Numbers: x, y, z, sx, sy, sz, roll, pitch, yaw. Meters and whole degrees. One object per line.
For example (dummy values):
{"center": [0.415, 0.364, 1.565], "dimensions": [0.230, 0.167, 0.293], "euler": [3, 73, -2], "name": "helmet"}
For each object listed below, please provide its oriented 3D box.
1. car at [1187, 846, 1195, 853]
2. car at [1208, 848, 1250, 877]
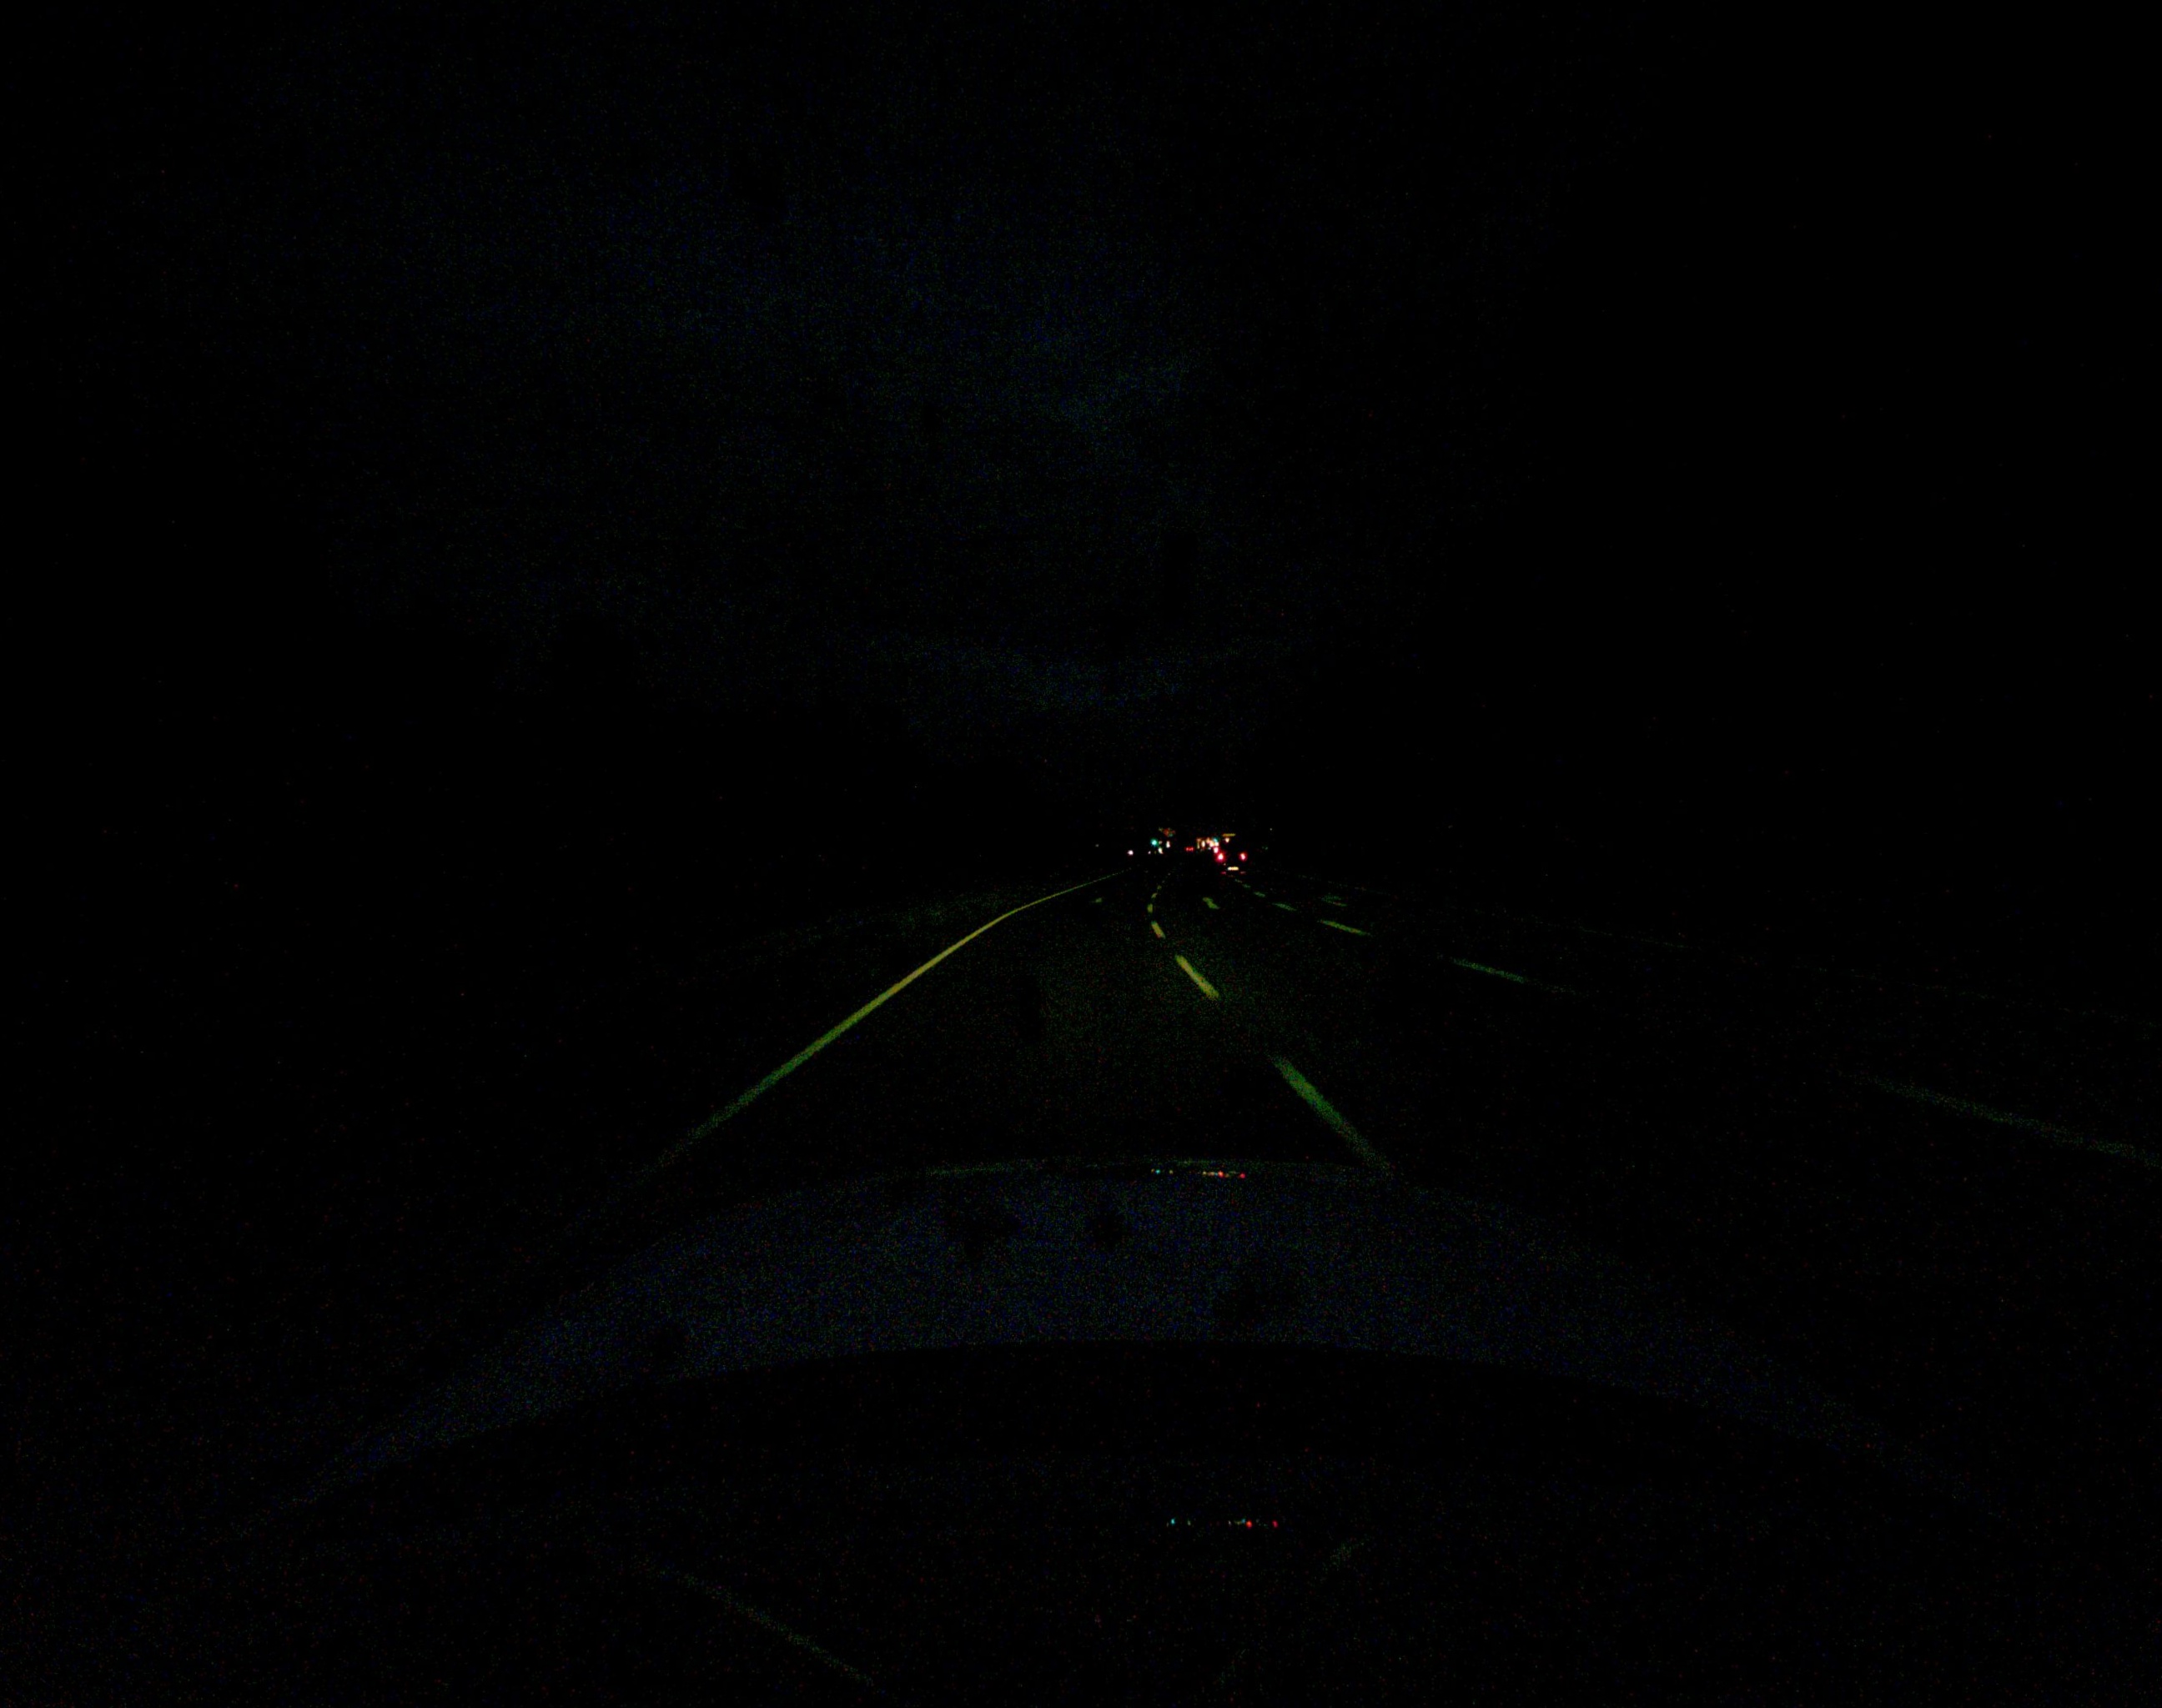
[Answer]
{"center": [32.112, -1.261, 237.913], "dimensions": [1.984, 1.750, 4.007], "euler": [-6, -1, 6], "name": "car"}
{"center": [7.803, 0.415, 43.338], "dimensions": [1.745, 1.453, 4.439], "euler": [-2, 0, 5], "name": "car"}
